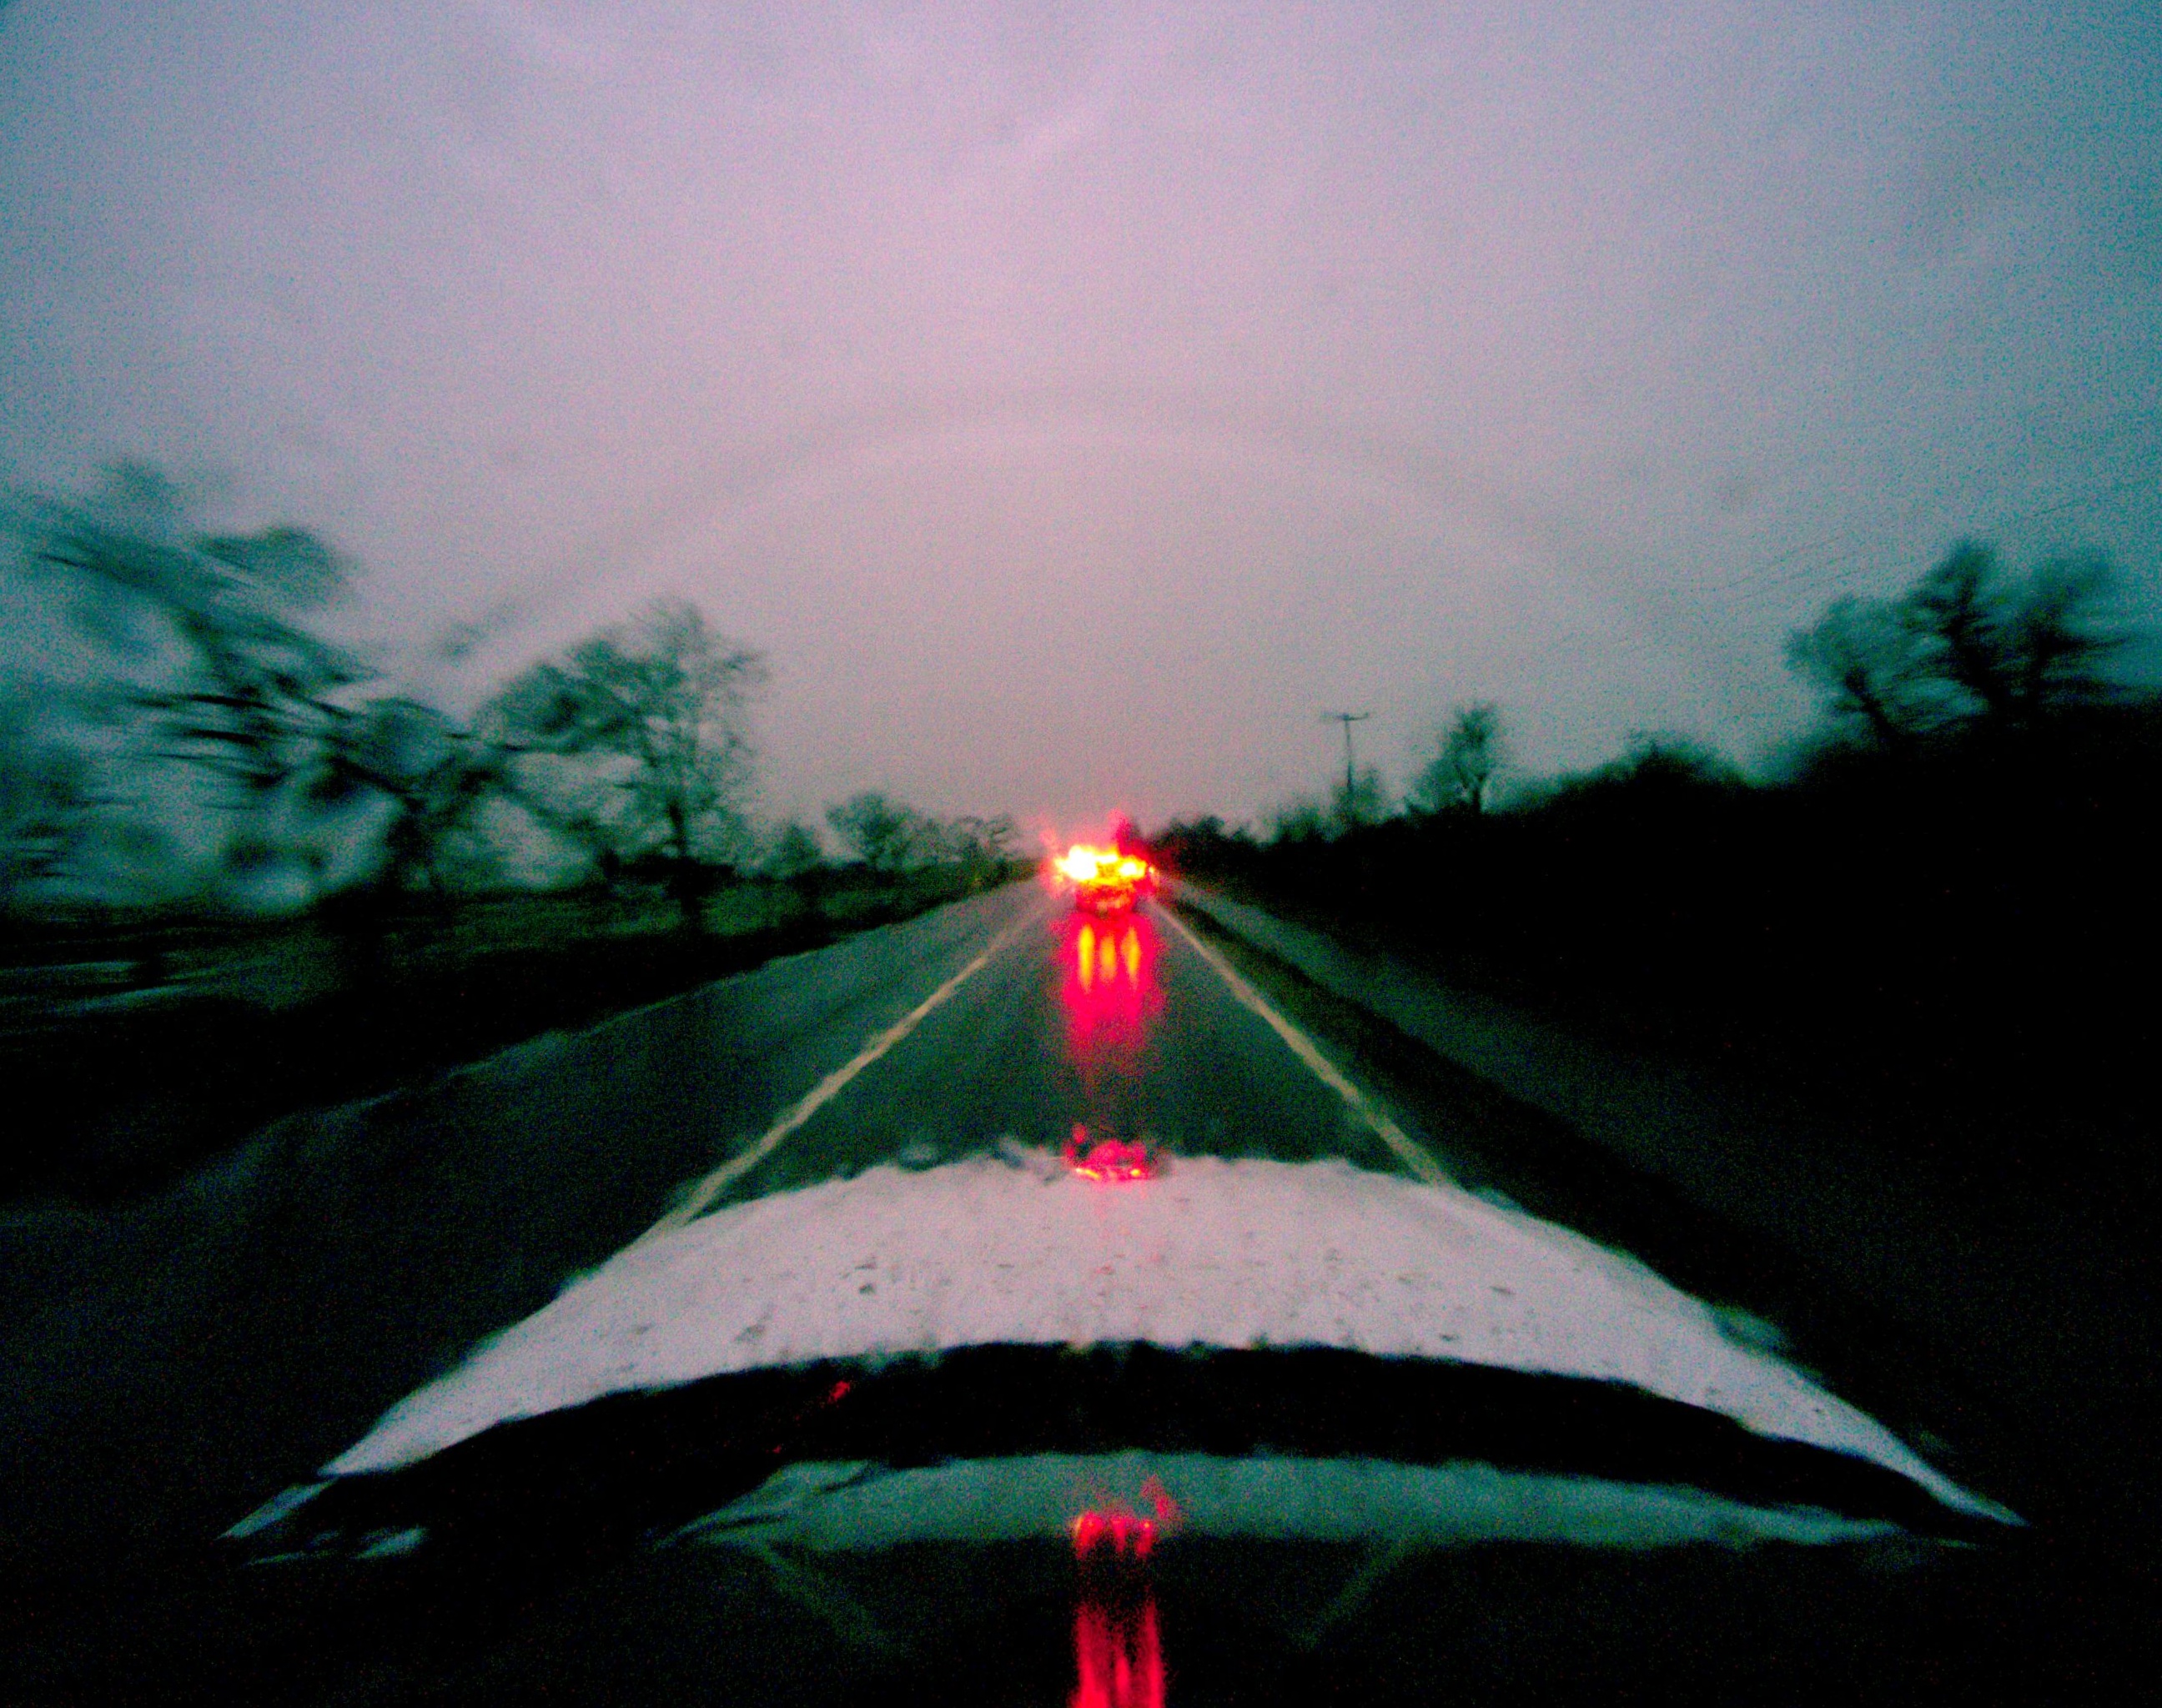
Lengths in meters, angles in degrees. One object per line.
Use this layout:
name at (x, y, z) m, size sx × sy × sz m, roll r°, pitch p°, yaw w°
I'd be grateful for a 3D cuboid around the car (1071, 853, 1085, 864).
car at (-0.430, 0.603, 117.870) m, size 1.849 × 1.517 × 4.514 m, roll -3°, pitch 0°, yaw -1°

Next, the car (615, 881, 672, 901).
car at (-33.030, 2.786, 61.595) m, size 3.444 × 1.342 × 1.592 m, roll 0°, pitch -1°, yaw -13°

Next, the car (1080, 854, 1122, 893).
car at (1.009, 0.939, 40.492) m, size 1.986 × 1.849 × 4.002 m, roll 0°, pitch 0°, yaw 2°

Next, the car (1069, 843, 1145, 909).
car at (0.810, 0.606, 25.377) m, size 2.112 × 1.820 × 4.982 m, roll -1°, pitch 0°, yaw 2°
